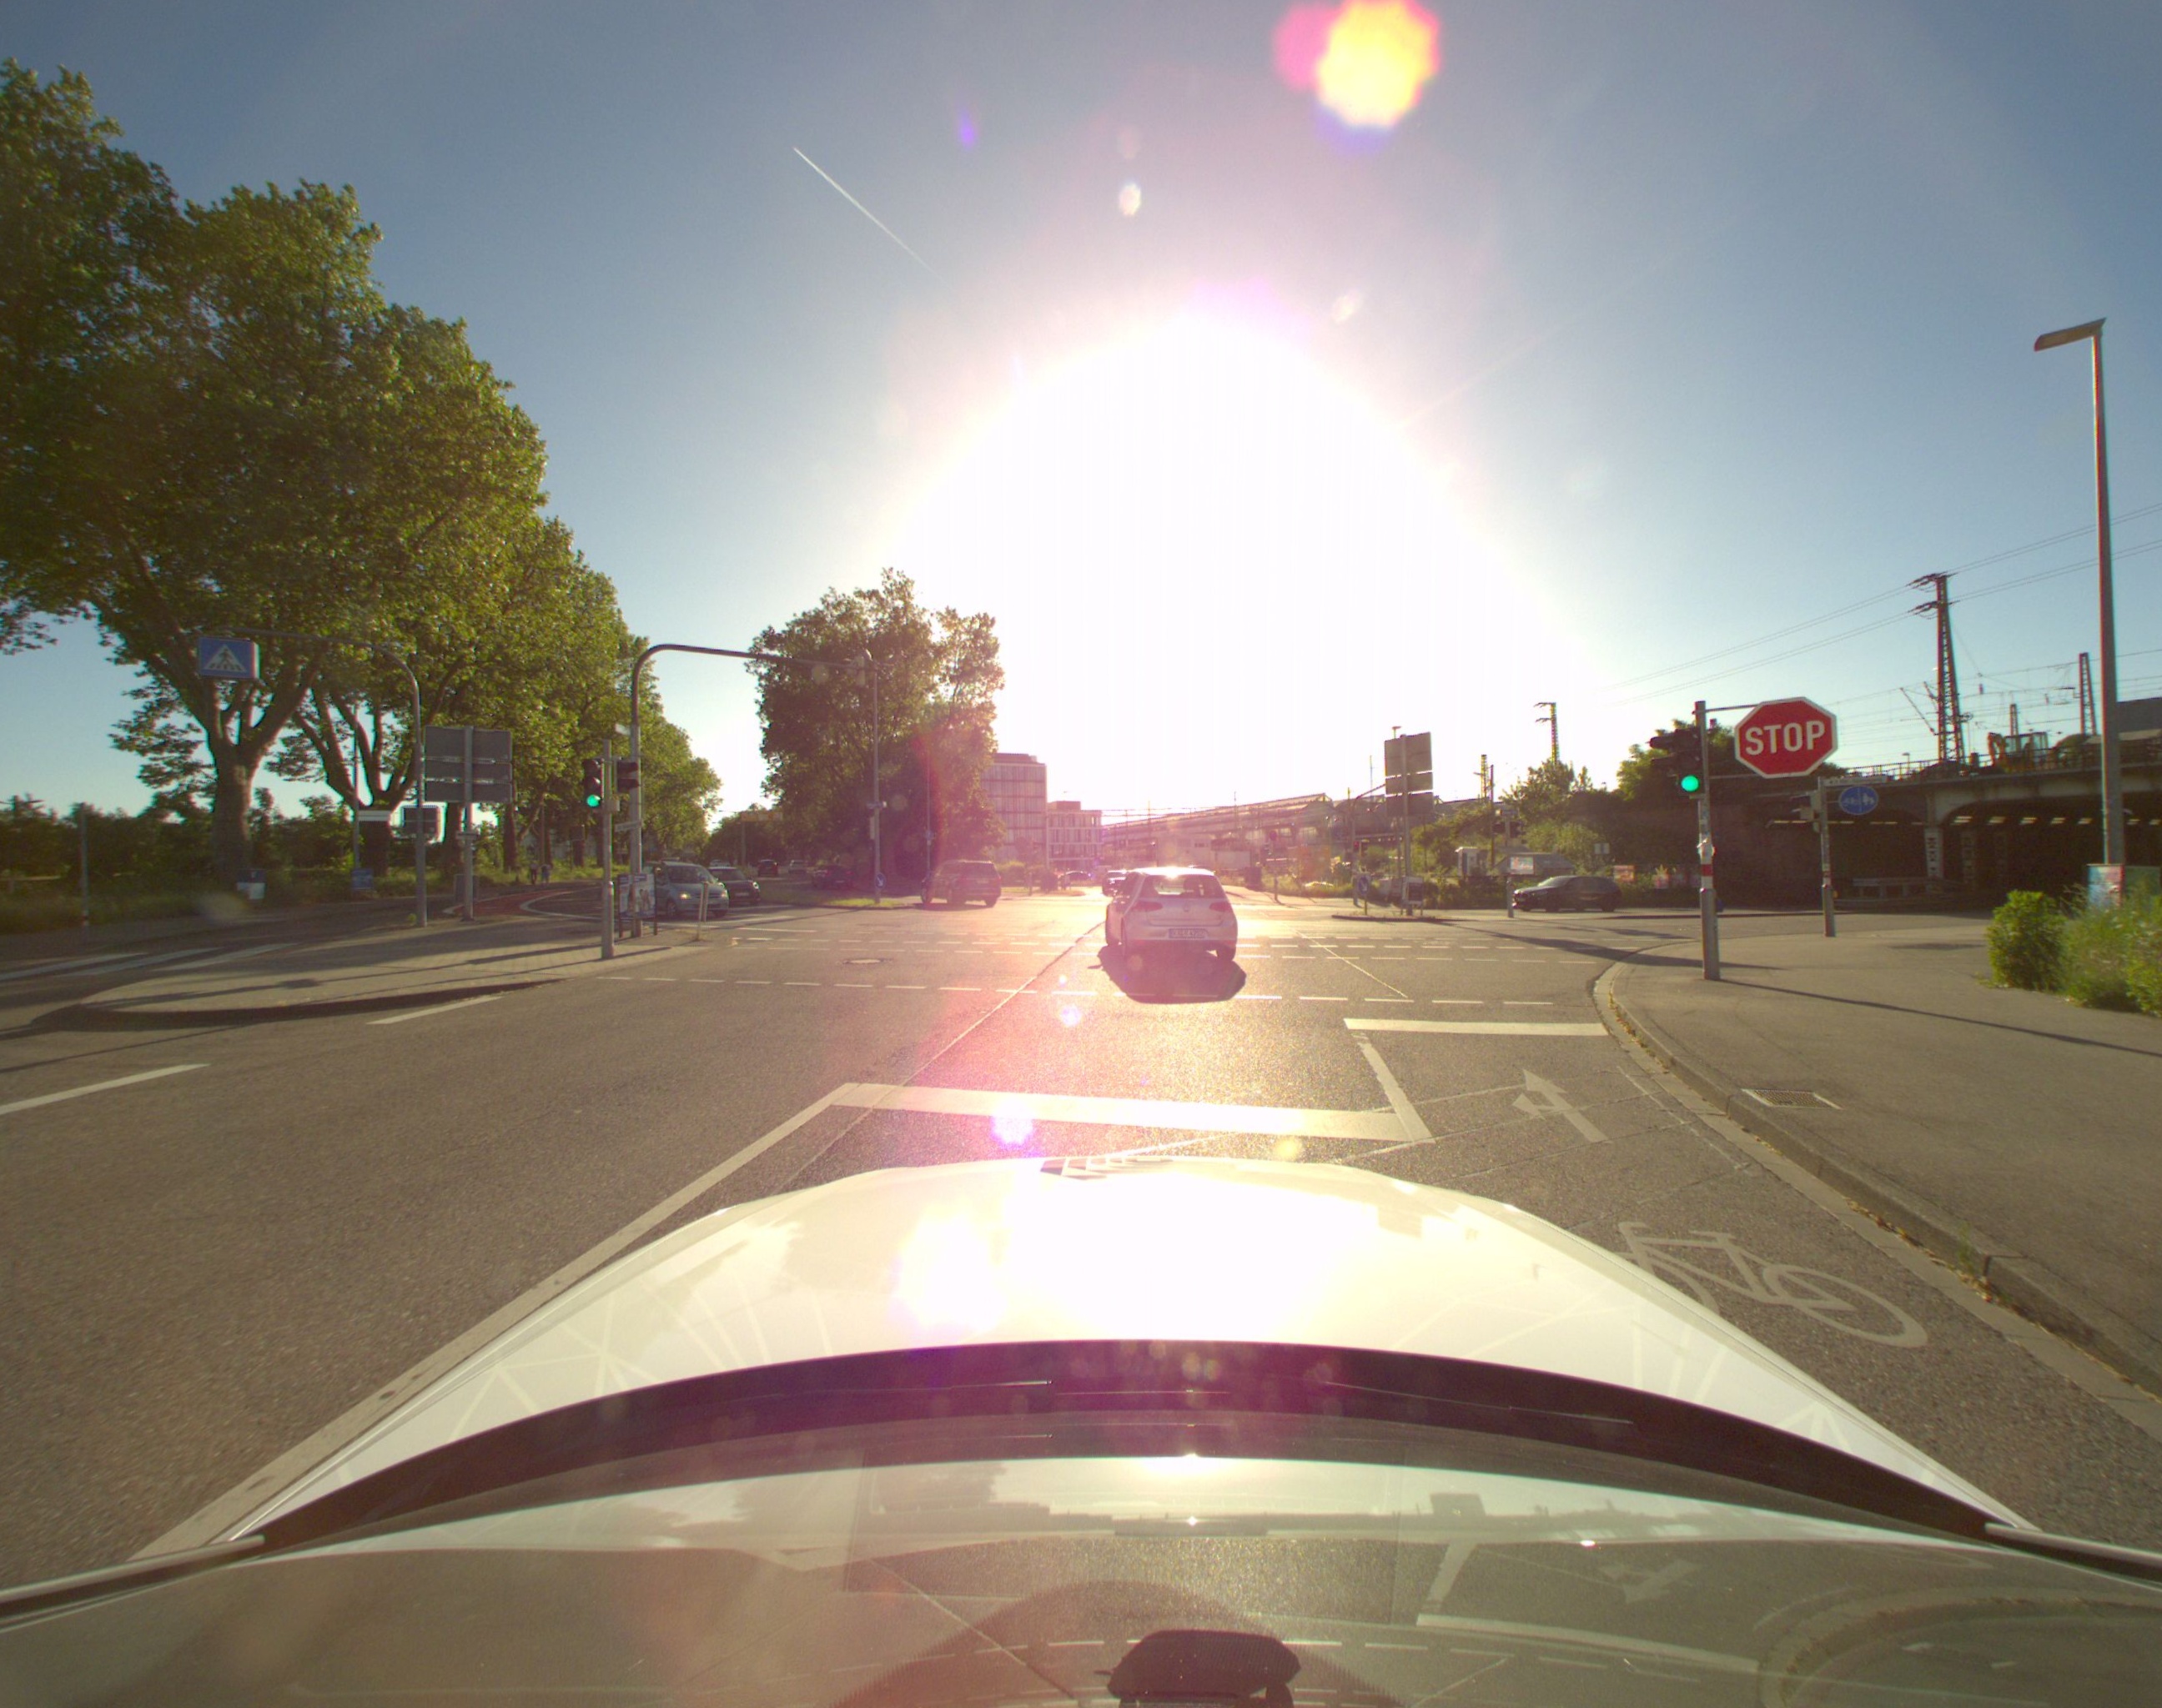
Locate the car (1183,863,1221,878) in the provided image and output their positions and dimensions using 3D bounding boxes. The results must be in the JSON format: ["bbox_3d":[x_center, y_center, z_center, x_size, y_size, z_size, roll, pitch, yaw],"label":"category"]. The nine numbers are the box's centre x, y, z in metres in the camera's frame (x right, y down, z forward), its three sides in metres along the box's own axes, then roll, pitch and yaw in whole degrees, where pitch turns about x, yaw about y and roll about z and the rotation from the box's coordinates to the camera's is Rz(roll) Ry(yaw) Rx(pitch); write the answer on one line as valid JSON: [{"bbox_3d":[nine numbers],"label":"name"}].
[{"bbox_3d":[13.683,1.854,91.948,3.993,1.706,1.607,0,-1,-15],"label":"car"}]

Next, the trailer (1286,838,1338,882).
[{"bbox_3d":[18.176,0.508,64.437,2.980,3.292,6.680,0,-1,7],"label":"trailer"}]

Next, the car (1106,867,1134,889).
[{"bbox_3d":[2.735,1.678,57.556,1.742,1.476,3.999,-1,-1,0],"label":"car"}]

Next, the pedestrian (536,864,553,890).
[{"bbox_3d":[-34.151,1.457,51.812,0.731,1.592,0.799,0,-1,-21],"label":"pedestrian"}]

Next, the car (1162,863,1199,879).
[{"bbox_3d":[11.626,2.010,95.413,3.993,1.788,1.647,0,-1,-15],"label":"car"}]

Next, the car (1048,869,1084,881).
[{"bbox_3d":[-2.427,3.386,134.105,5.737,1.845,1.899,0,-1,-29],"label":"car"}]

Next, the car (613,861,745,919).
[{"bbox_3d":[-12.251,1.051,24.759,4.068,1.636,1.933,-1,-1,36],"label":"car"}]

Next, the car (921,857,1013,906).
[{"bbox_3d":[-4.814,1.102,33.731,2.126,1.887,4.766,0,-1,-30],"label":"car"}]

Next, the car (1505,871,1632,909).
[{"bbox_3d":[20.403,1.495,34.164,4.373,1.518,1.949,0,-2,-11],"label":"car"}]

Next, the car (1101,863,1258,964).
[{"bbox_3d":[1.495,0.881,13.810,1.966,1.427,3.931,-1,-1,-3],"label":"car"}]

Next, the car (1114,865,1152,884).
[{"bbox_3d":[4.227,1.659,66.289,1.753,1.476,3.975,0,-1,-18],"label":"car"}]

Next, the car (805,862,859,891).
[{"bbox_3d":[-15.800,1.407,51.612,1.957,1.713,4.153,0,-1,-37],"label":"car"}]

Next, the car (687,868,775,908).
[{"bbox_3d":[-13.449,1.262,31.202,1.919,1.427,3.889,1,-1,-42],"label":"car"}]

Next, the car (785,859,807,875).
[{"bbox_3d":[-31.829,1.458,90.918,1.863,1.650,4.231,0,-1,-25],"label":"car"}]

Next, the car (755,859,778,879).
[{"bbox_3d":[-29.420,1.378,76.291,1.859,1.743,4.239,0,-1,-19],"label":"car"}]

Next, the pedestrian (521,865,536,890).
[{"bbox_3d":[-34.949,1.482,51.554,0.666,1.586,0.627,0,-1,-21],"label":"pedestrian"}]

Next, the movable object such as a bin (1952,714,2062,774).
[{"bbox_3d":[43.079,-5.041,37.888,4.836,2.226,1.984,1,-1,-23],"label":"movable object such as a bin"}]
